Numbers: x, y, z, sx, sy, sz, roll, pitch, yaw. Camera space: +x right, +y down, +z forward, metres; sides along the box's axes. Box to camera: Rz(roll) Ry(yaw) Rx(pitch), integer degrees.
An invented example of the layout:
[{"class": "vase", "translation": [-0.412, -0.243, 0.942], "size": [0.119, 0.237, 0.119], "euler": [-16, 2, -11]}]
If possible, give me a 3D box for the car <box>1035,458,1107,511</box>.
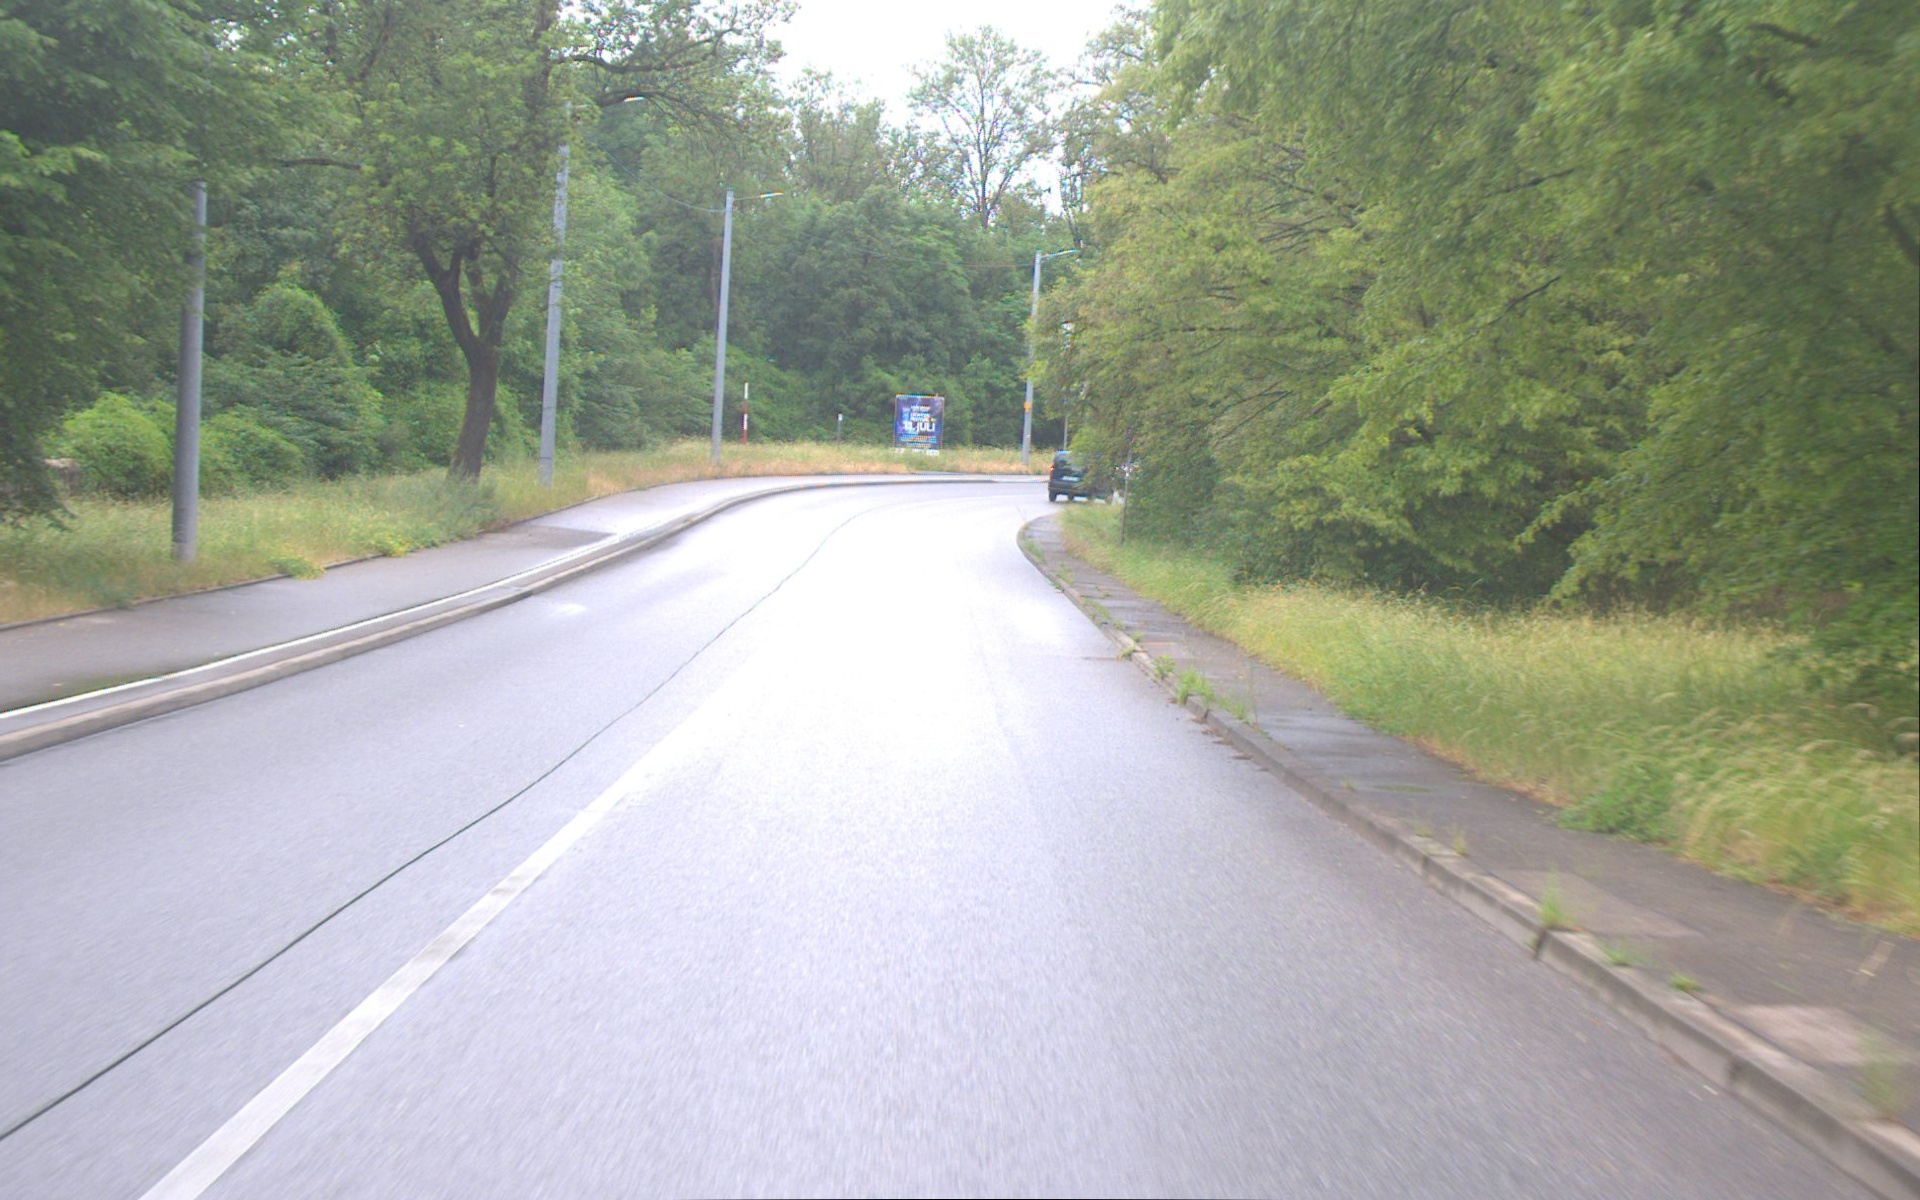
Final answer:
[{"class": "car", "translation": [3.984, -4.110, 123.018], "size": [1.743, 1.711, 3.998], "euler": [4, 1, 13]}]
